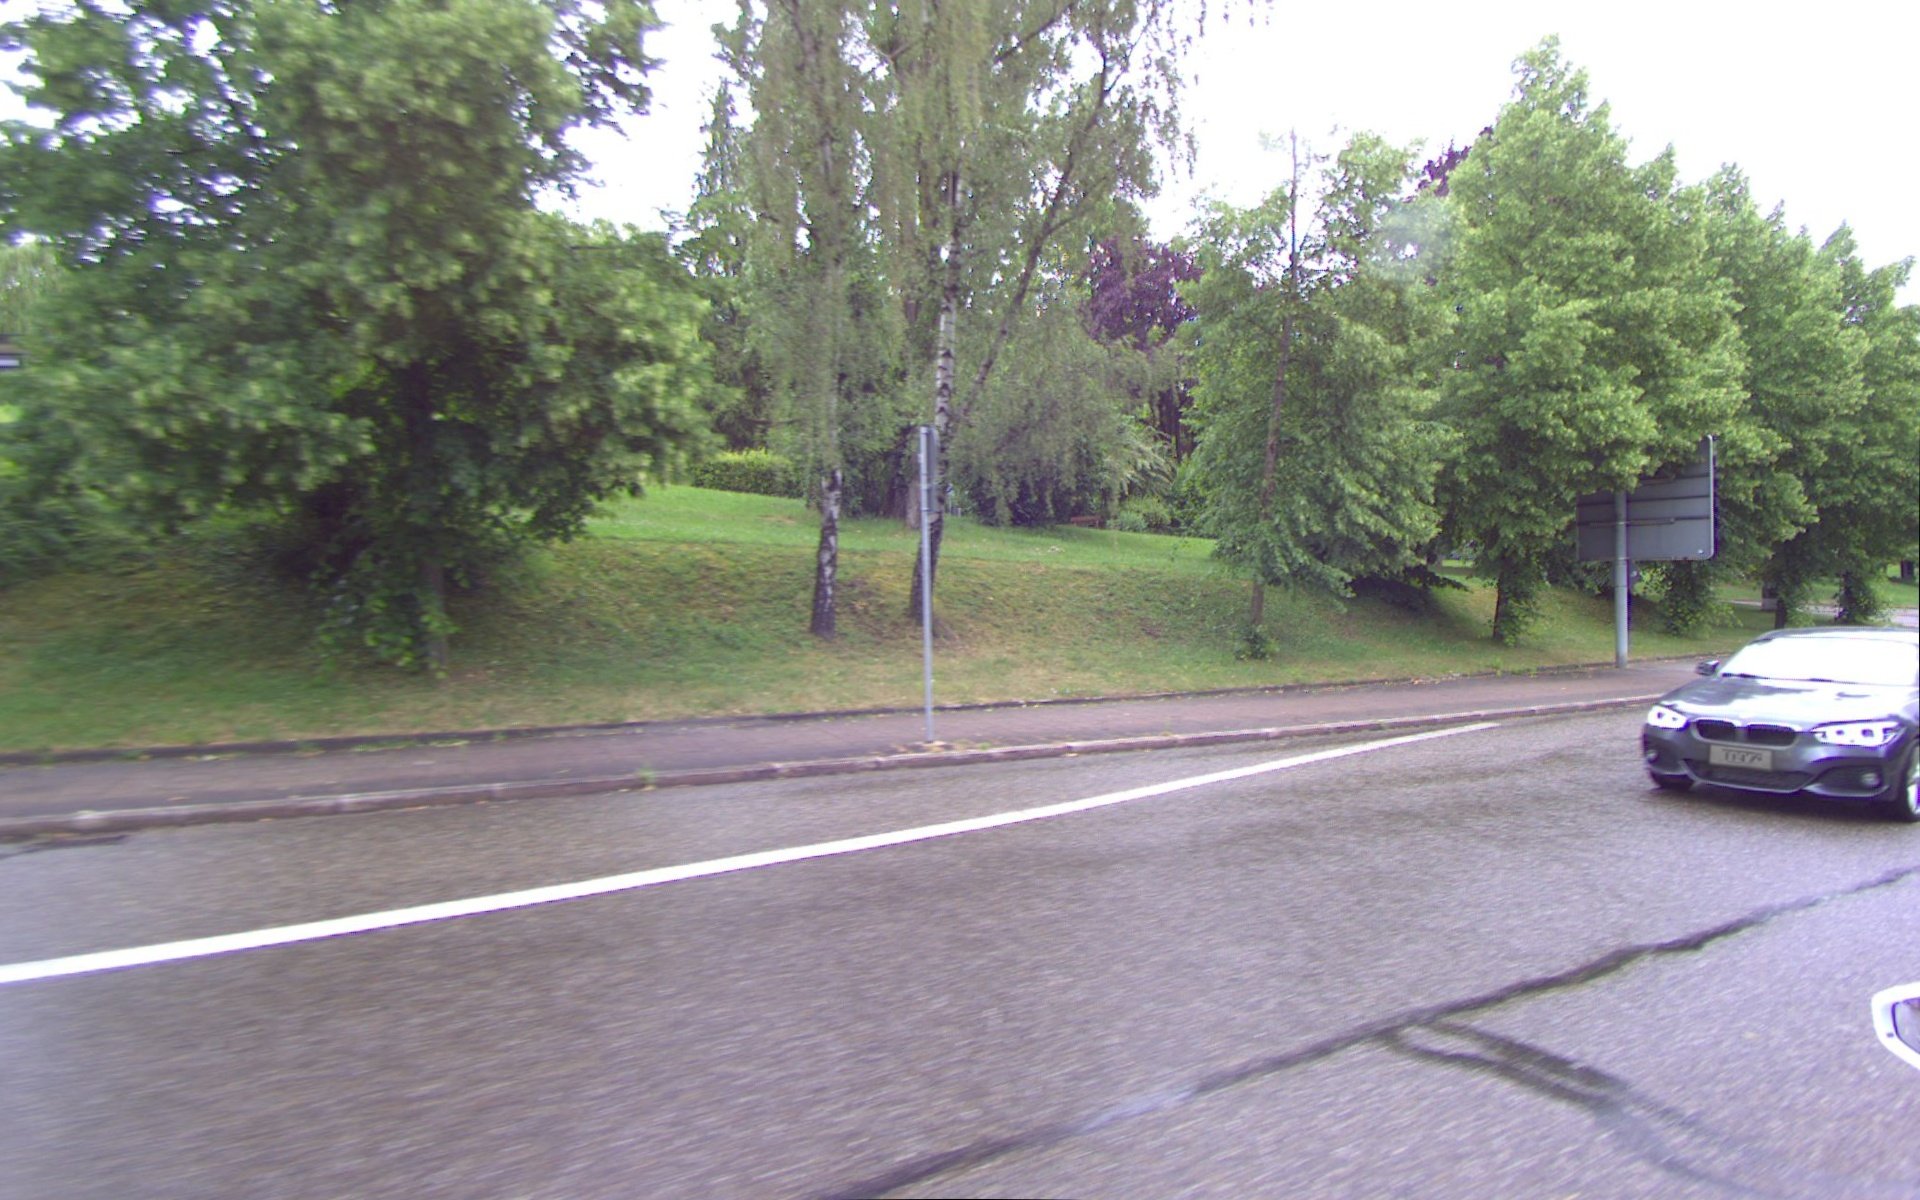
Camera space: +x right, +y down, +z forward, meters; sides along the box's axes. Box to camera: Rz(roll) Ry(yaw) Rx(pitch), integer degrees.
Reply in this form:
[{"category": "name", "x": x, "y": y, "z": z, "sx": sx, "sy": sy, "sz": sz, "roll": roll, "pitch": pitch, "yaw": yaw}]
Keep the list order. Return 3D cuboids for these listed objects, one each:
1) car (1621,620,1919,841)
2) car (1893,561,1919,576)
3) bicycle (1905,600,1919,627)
[{"category": "car", "x": 7.713, "y": 0.942, "z": 8.811, "sx": 4.095, "sy": 1.402, "sz": 1.711, "roll": 0, "pitch": 2, "yaw": -33}, {"category": "car", "x": 96.589, "y": -3.137, "z": 101.021, "sx": 3.849, "sy": 1.506, "sz": 1.926, "roll": 2, "pitch": 2, "yaw": 40}, {"category": "bicycle", "x": 42.628, "y": 0.614, "z": 43.736, "sx": 0.839, "sy": 1.171, "sz": 2.034, "roll": 1, "pitch": 0, "yaw": -10}]
